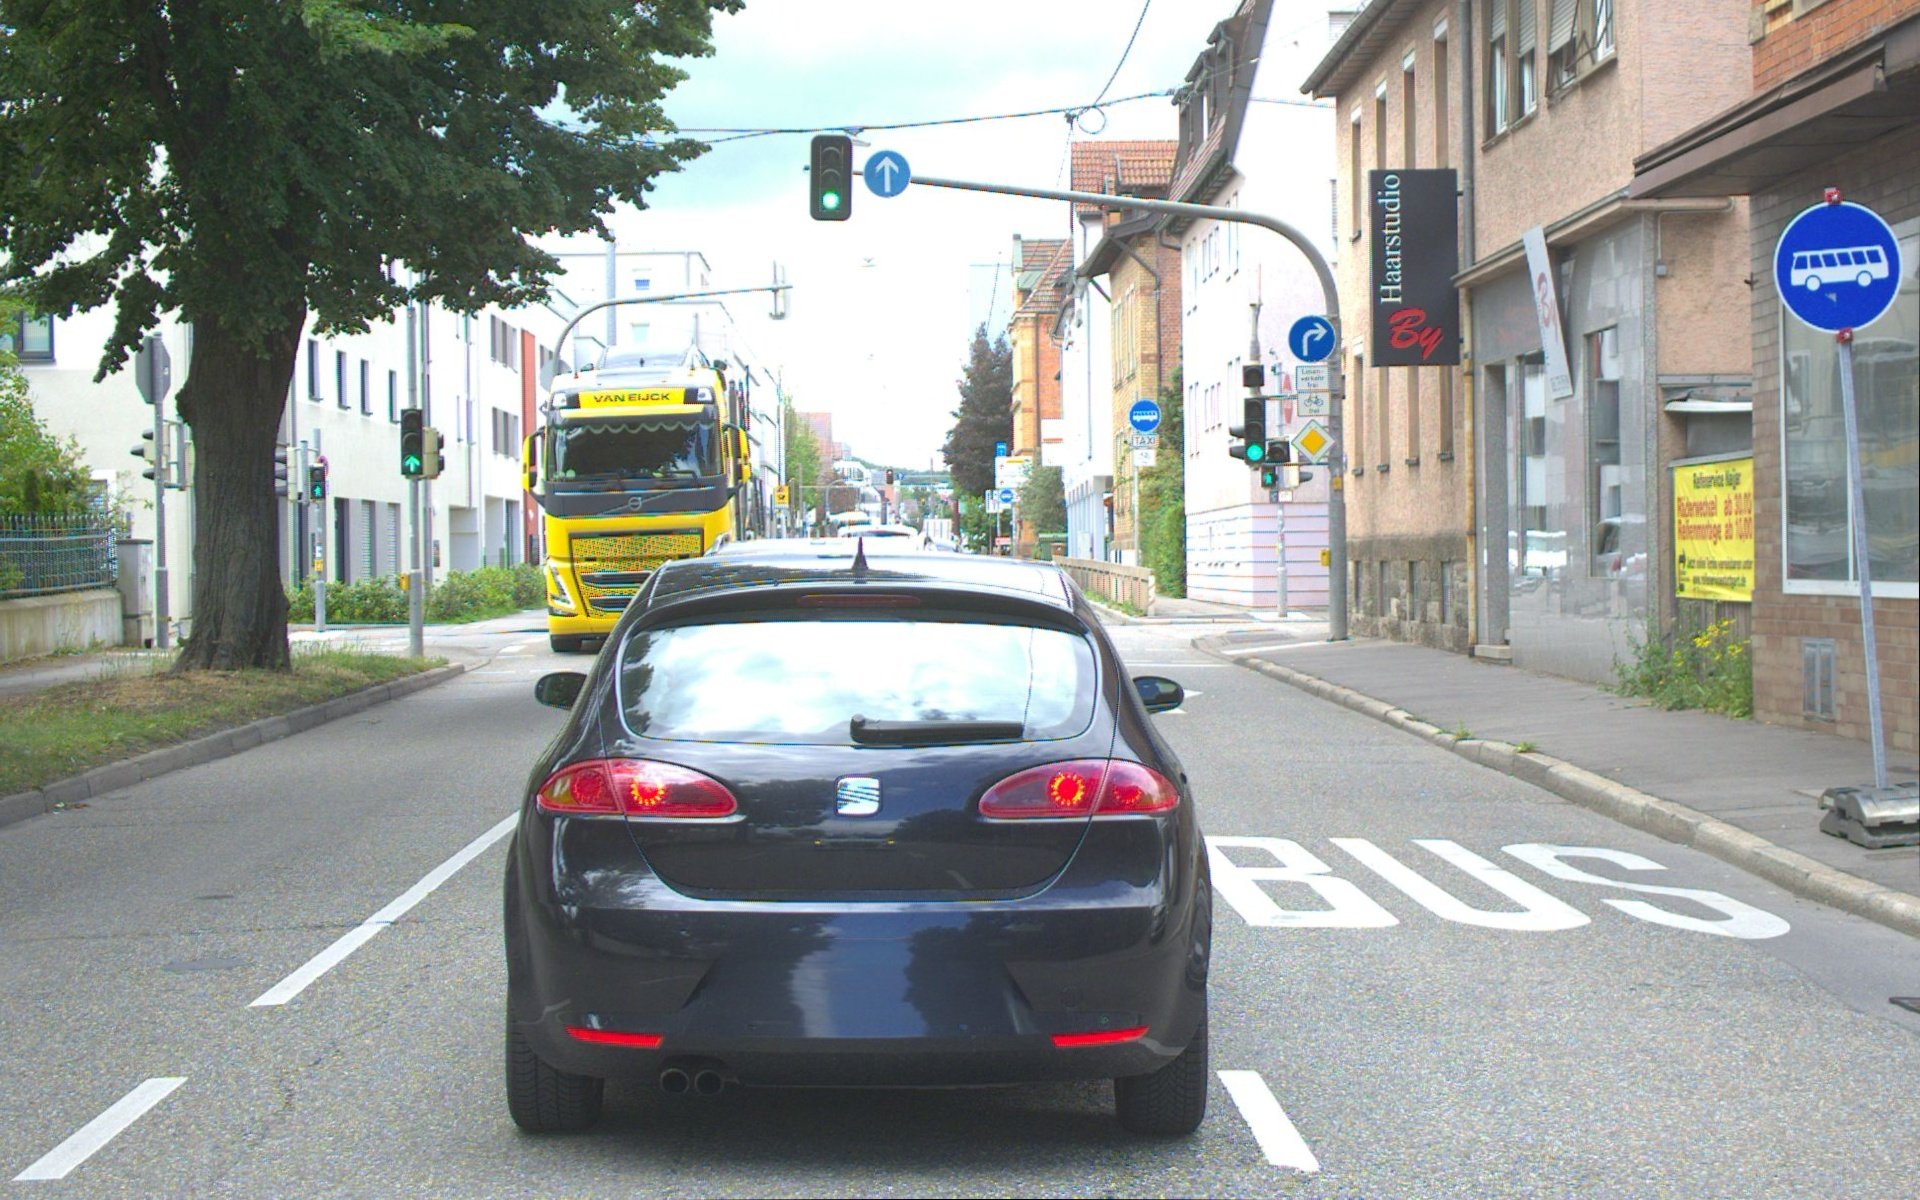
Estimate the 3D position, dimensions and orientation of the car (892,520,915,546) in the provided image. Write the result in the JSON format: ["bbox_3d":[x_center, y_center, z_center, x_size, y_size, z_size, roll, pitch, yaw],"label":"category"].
[{"bbox_3d":[-3.795,-4.499,230.156,1.531,1.687,3.693,-1,1,-1],"label":"car"}]

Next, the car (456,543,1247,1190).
[{"bbox_3d":[-0.278,0.573,9.698,1.759,1.437,4.000,0,1,-1],"label":"car"}]

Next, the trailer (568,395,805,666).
[{"bbox_3d":[-4.172,-1.066,55.569,2.858,3.795,14.392,0,1,-1],"label":"trailer"}]

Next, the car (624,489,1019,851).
[{"bbox_3d":[-0.696,0.305,18.156,1.842,1.687,4.000,0,1,-1],"label":"car"}]

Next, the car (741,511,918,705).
[{"bbox_3d":[-1.182,0.047,31.824,1.531,1.687,3.693,0,1,-1],"label":"car"}]

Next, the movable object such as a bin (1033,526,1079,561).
[{"bbox_3d":[3.950,-2.315,141.267,1.818,1.432,1.993,1,1,0],"label":"movable object such as a bin"}]

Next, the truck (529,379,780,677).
[{"bbox_3d":[-4.101,-0.966,47.738,2.843,3.769,7.670,0,1,0],"label":"truck"}]

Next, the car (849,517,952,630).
[{"bbox_3d":[-0.942,-0.427,53.679,1.531,1.687,3.693,0,1,-1],"label":"car"}]
